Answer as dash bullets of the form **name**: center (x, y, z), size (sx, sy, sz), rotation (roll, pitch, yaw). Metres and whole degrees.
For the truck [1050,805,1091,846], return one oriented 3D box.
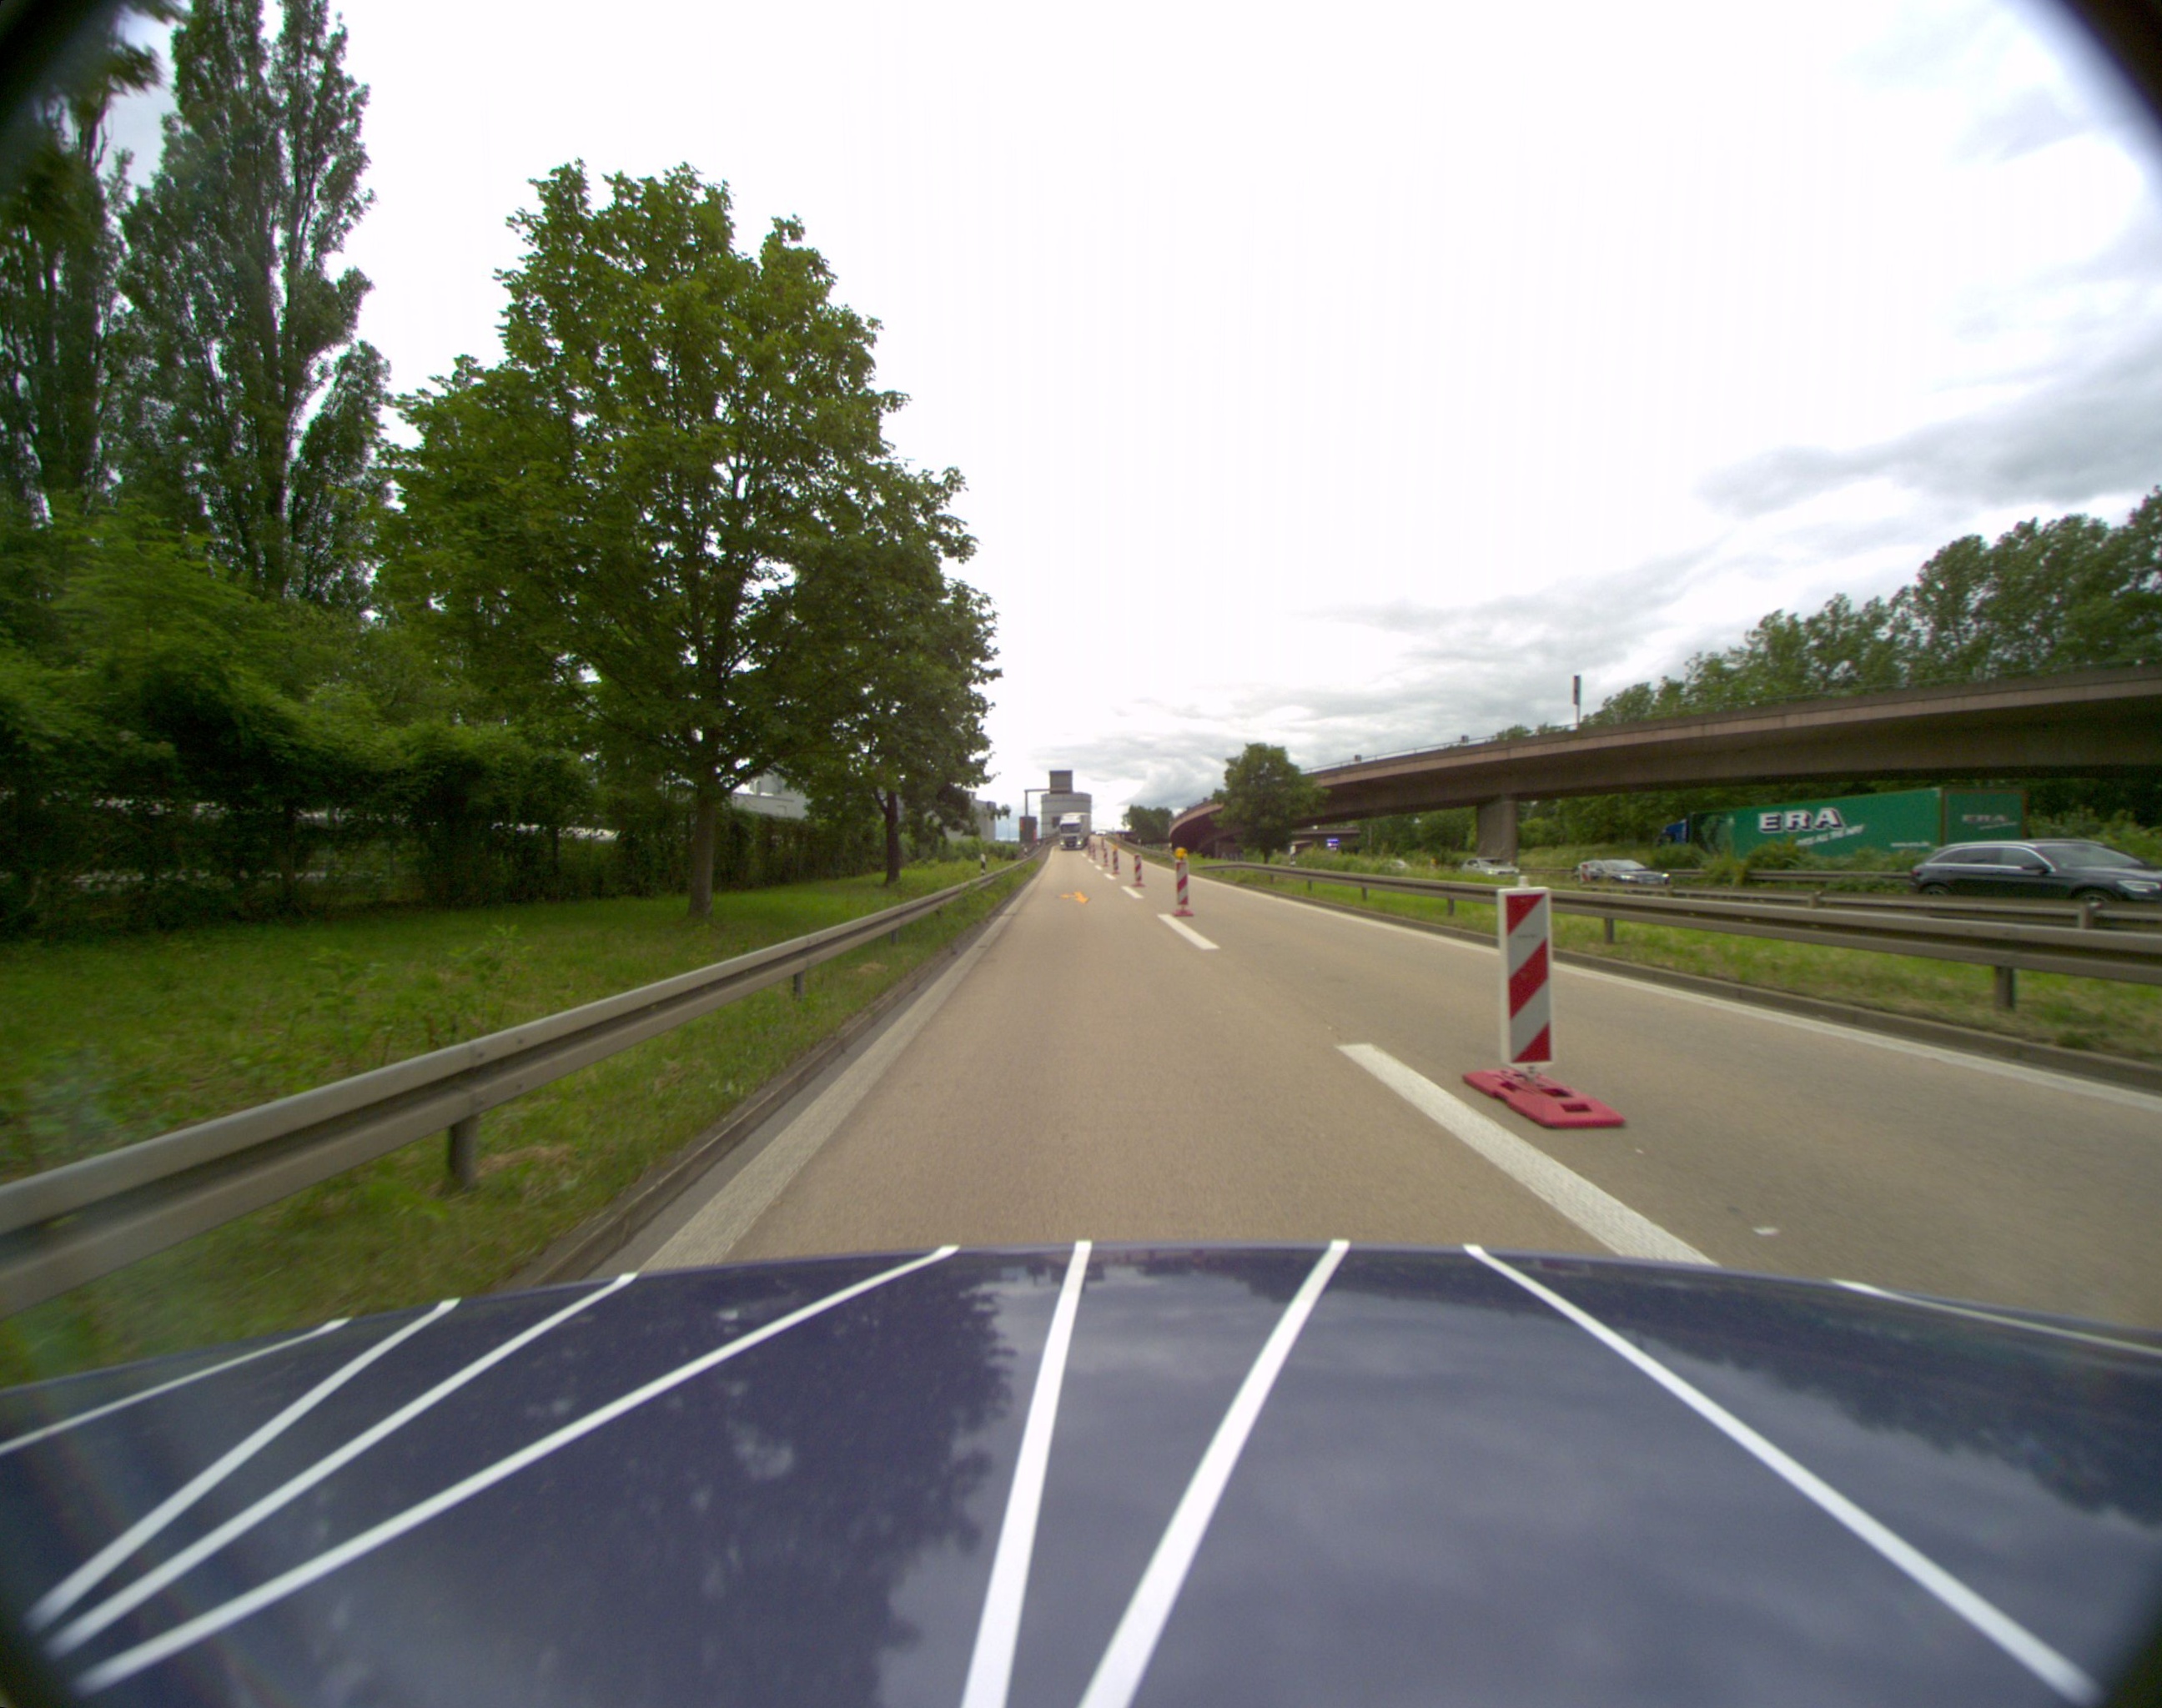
- **truck**: center (-1.087, -3.129, 85.767), size (4.163, 4.278, 5.966), rotation (-1, 0, 3)

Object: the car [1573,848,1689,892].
- **car**: center (22.104, 0.606, 30.766), size (2.041, 1.605, 4.297), rotation (-1, 0, 8)

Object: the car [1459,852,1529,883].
- **car**: center (23.111, 0.703, 42.706), size (2.041, 1.605, 4.297), rotation (-1, 0, 8)

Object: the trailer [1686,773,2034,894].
- **trailer**: center (33.252, -0.743, 34.011), size (2.777, 4.269, 13.986), rotation (-1, 0, 7)

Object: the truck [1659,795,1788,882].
- **truck**: center (34.105, -0.783, 40.618), size (2.758, 4.247, 5.506), rotation (-1, 0, 8)

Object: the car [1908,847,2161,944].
- **car**: center (19.598, 0.690, 14.970), size (2.041, 1.605, 4.581), rotation (-1, 0, 8)

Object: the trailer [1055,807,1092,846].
- **trailer**: center (-0.725, -3.147, 93.257), size (4.125, 4.219, 13.891), rotation (-1, 0, 1)
